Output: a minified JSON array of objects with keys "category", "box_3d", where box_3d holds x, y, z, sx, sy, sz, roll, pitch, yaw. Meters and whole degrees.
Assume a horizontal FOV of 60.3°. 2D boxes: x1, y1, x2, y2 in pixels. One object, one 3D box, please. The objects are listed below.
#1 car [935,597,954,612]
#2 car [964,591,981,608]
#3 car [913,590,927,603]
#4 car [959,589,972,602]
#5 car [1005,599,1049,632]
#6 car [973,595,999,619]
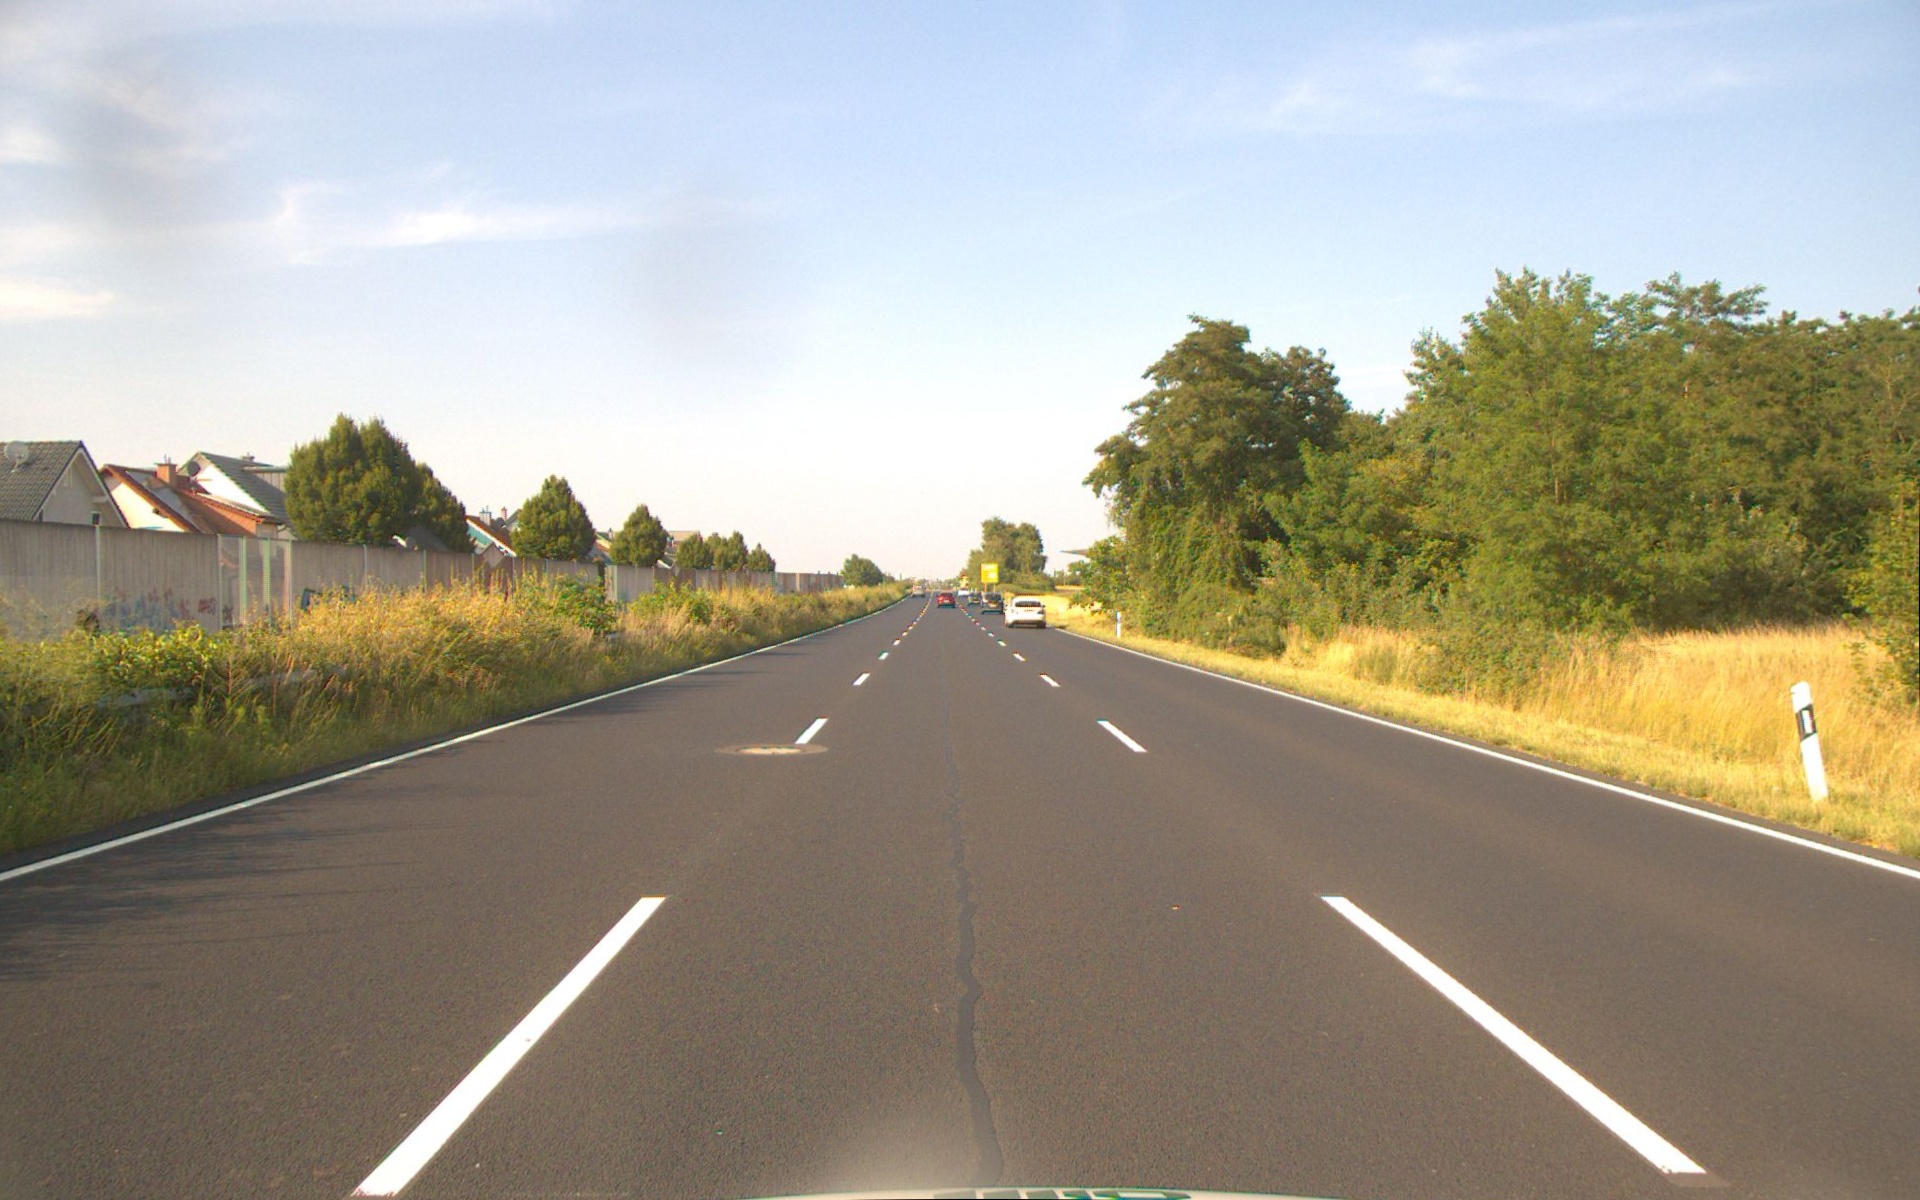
[{"category":"car","box_3d":[-1.492,0.447,159.551,1.775,1.461,3.857,1,0,-2]},{"category":"car","box_3d":[1.308,-0.021,175.412,1.796,1.747,3.861,1,0,-1]},{"category":"car","box_3d":[-5.944,-0.516,244.632,1.953,1.747,3.999,1,0,-1]},{"category":"car","box_3d":[0.834,-0.662,249.041,1.809,1.780,4.000,1,0,0]},{"category":"car","box_3d":[3.254,0.734,80.929,1.953,1.543,3.999,1,0,-1]},{"category":"car","box_3d":[2.000,0.559,128.093,1.791,1.758,3.999,1,0,-1]}]
